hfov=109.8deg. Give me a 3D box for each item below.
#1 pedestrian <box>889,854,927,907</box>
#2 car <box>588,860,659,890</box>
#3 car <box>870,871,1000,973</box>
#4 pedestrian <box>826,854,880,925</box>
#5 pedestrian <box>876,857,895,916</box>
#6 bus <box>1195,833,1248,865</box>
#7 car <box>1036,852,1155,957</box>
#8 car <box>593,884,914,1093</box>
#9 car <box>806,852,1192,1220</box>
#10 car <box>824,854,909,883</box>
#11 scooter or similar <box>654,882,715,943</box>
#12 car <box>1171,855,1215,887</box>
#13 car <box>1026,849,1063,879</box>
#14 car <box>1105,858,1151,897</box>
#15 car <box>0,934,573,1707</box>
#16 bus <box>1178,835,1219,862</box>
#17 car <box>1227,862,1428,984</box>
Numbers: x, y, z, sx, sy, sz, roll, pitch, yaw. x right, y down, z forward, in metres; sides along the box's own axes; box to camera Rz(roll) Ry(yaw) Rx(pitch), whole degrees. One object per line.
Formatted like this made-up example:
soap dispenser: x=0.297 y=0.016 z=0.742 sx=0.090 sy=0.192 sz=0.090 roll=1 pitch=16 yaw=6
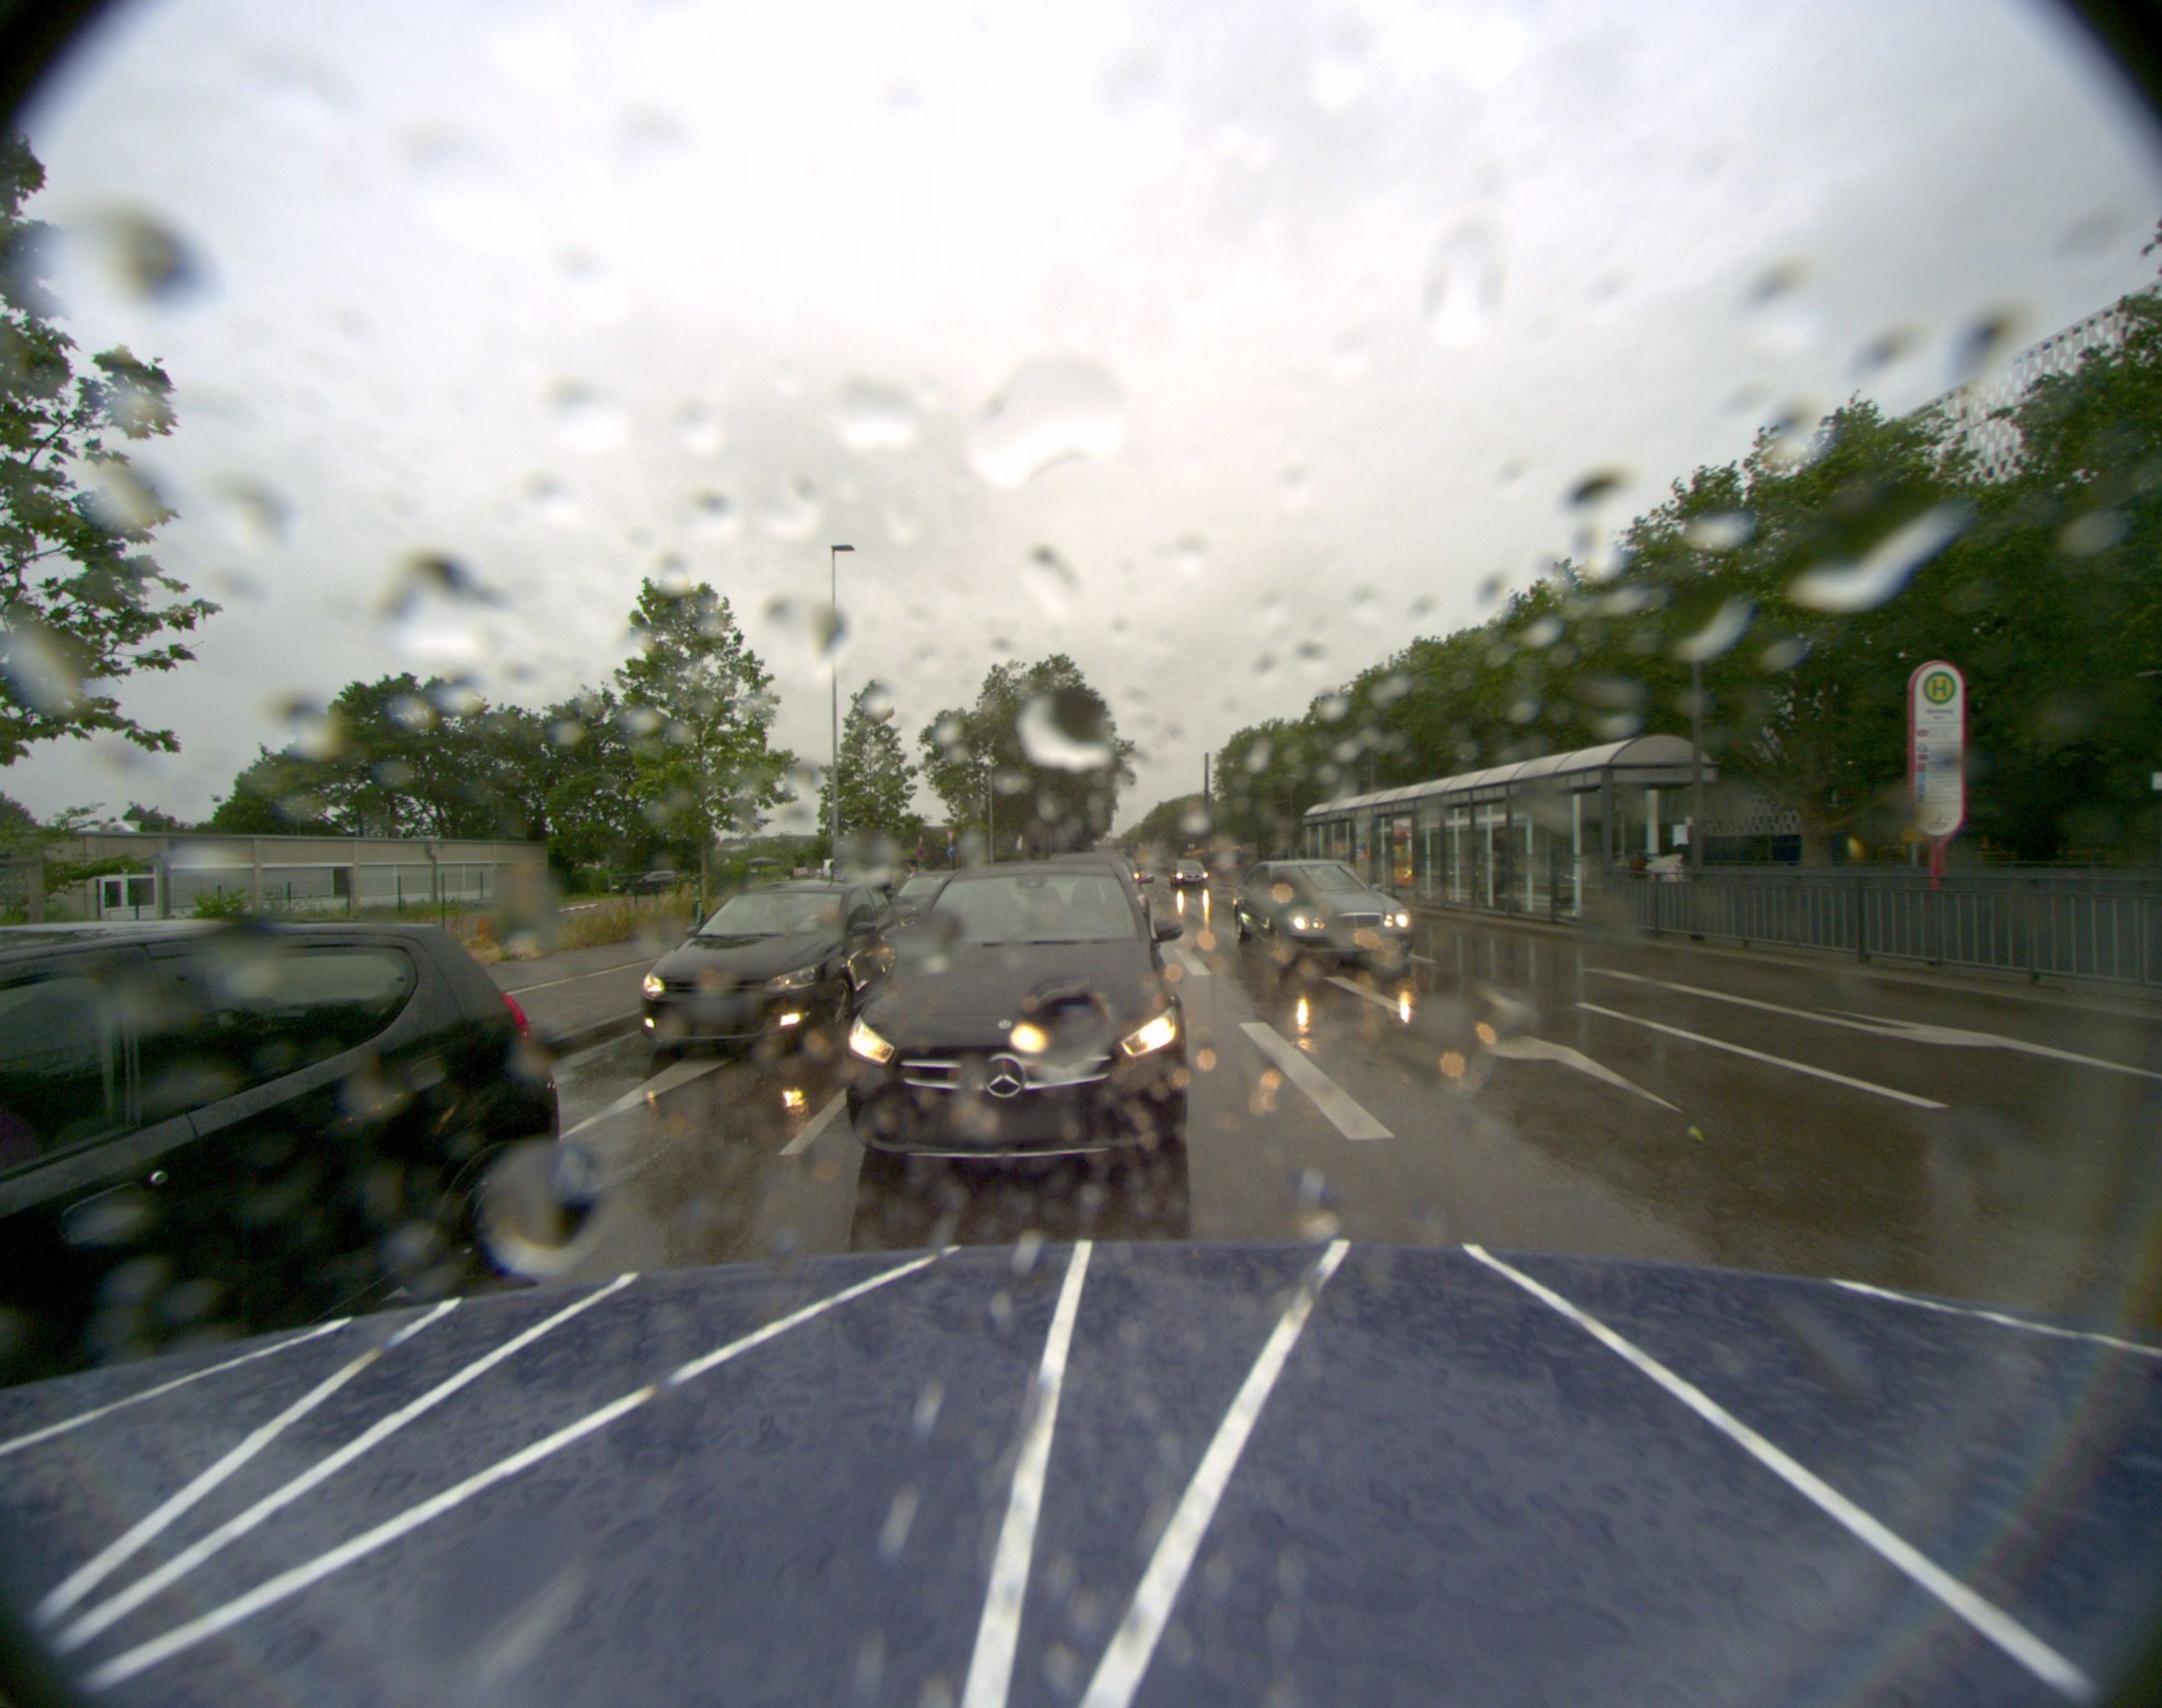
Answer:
pedestrian: x=-5.681 y=0.851 z=25.020 sx=1.025 sy=1.698 sz=0.891 roll=1 pitch=1 yaw=0
car: x=-33.963 y=1.522 z=56.520 sx=3.996 sy=2.002 sz=2.000 roll=-2 pitch=1 yaw=2
car: x=-2.709 y=1.207 z=14.944 sx=1.698 sy=1.565 sz=3.813 roll=-2 pitch=1 yaw=1
pedestrian: x=-5.792 y=0.879 z=19.380 sx=1.082 sy=1.746 sz=0.969 roll=0 pitch=1 yaw=0
pedestrian: x=-5.569 y=0.911 z=21.637 sx=0.401 sy=1.652 sz=0.441 roll=1 pitch=1 yaw=0
bus: x=16.055 y=-0.582 z=88.260 sx=2.939 sy=3.310 sz=15.059 roll=-2 pitch=1 yaw=-1
car: x=0.199 y=0.719 z=12.561 sx=1.633 sy=1.420 sz=3.624 roll=-2 pitch=0 yaw=0
car: x=-2.928 y=1.109 z=7.681 sx=1.633 sy=1.420 sz=3.624 roll=-2 pitch=0 yaw=0
car: x=-0.341 y=0.827 z=5.523 sx=1.690 sy=1.578 sz=4.163 roll=-2 pitch=1 yaw=1
car: x=-13.505 y=0.893 z=48.075 sx=4.759 sy=1.640 sz=1.999 roll=-2 pitch=1 yaw=-2
scooter or similar: x=-8.214 y=1.181 z=15.807 sx=0.381 sy=1.123 sz=1.777 roll=0 pitch=1 yaw=-1
car: x=5.982 y=0.877 z=41.031 sx=1.775 sy=1.492 sz=4.597 roll=-2 pitch=1 yaw=2
car: x=-1.875 y=0.479 z=40.108 sx=1.703 sy=1.461 sz=4.121 roll=-2 pitch=1 yaw=0
car: x=2.092 y=1.028 z=34.991 sx=1.794 sy=1.597 sz=3.999 roll=-2 pitch=1 yaw=0
car: x=-3.014 y=1.076 z=1.437 sx=1.633 sy=1.420 sz=3.624 roll=-2 pitch=0 yaw=0
bus: x=15.764 y=-0.765 z=103.394 sx=2.939 sy=3.310 sz=15.059 roll=-2 pitch=1 yaw=-1
car: x=3.541 y=0.899 z=11.867 sx=1.766 sy=1.390 sz=4.645 roll=-2 pitch=0 yaw=2
